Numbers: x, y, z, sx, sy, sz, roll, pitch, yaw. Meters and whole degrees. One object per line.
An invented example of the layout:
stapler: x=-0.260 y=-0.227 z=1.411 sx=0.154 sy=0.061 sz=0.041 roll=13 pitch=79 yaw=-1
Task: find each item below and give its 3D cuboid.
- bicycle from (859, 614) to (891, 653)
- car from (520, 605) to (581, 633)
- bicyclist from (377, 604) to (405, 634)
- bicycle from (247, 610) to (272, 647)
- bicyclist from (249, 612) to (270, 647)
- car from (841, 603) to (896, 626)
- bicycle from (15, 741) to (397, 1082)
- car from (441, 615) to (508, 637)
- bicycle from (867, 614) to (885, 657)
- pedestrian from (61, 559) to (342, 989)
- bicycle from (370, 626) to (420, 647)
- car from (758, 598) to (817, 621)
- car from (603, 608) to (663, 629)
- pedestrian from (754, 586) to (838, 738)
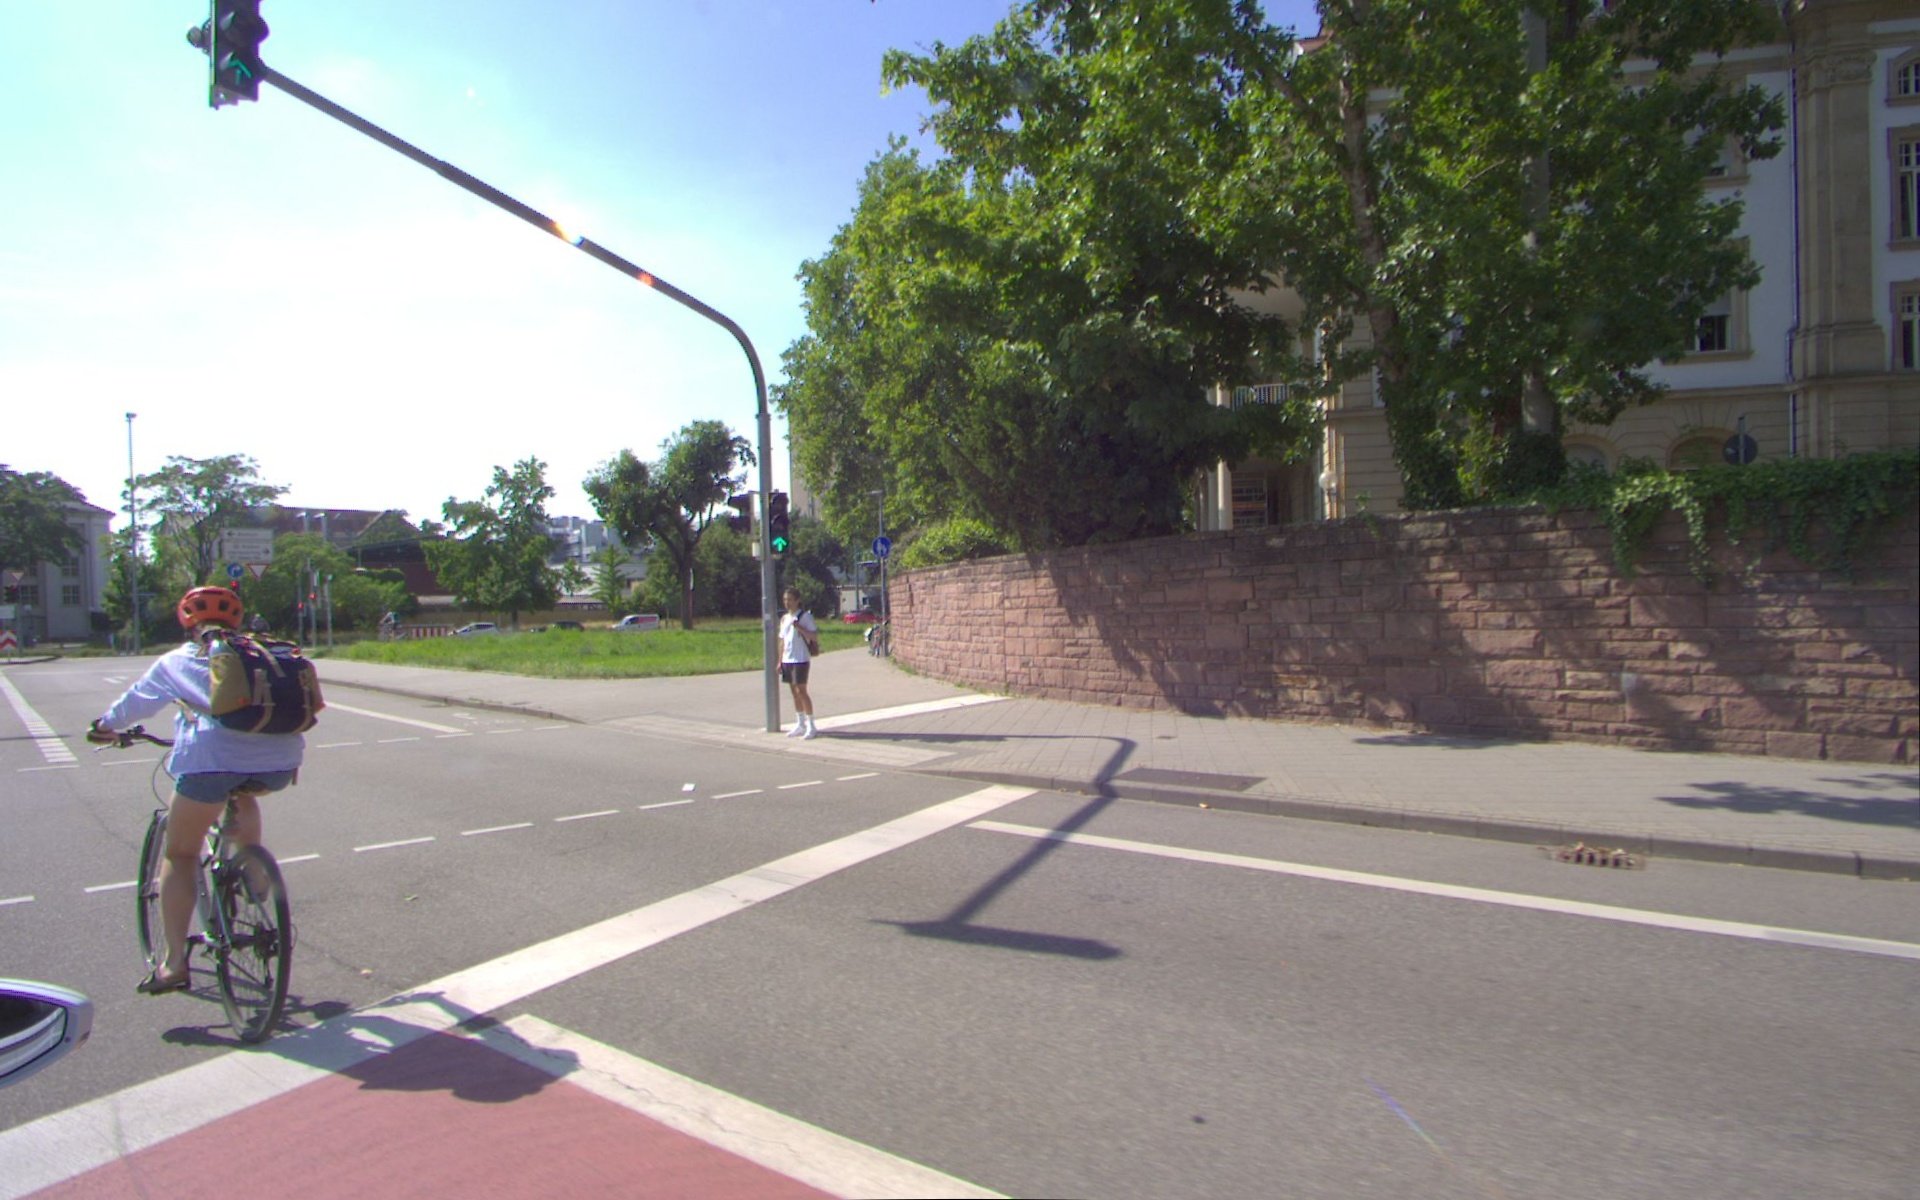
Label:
bicycle: x=-2.550 y=0.994 z=29.893 sx=0.344 sy=1.138 sz=1.427 roll=-2 pitch=1 yaw=-31
car: x=-31.818 y=1.495 z=77.853 sx=3.959 sy=2.040 sz=1.981 roll=-2 pitch=1 yaw=-43
bicyclist: x=-28.221 y=0.956 z=49.682 sx=1.120 sy=1.489 sz=0.496 roll=-1 pitch=-1 yaw=3
bicycle: x=-34.459 y=1.389 z=49.224 sx=0.673 sy=1.789 sz=1.793 roll=-2 pitch=1 yaw=-45
bicyclist: x=-34.476 y=1.431 z=49.265 sx=0.674 sy=1.677 sz=0.909 roll=-2 pitch=1 yaw=-45
car: x=-7.005 y=1.163 z=76.996 sx=1.735 sy=1.526 sz=3.966 roll=-1 pitch=-4 yaw=45
bicycle: x=-3.121 y=1.129 z=4.069 sx=2.000 sy=0.943 sz=0.595 roll=-1 pitch=-1 yaw=33
car: x=-35.720 y=1.924 z=73.712 sx=1.980 sy=1.483 sz=3.962 roll=-3 pitch=-1 yaw=45
bicycle: x=-2.382 y=0.990 z=28.306 sx=0.343 sy=1.138 sz=1.434 roll=-2 pitch=0 yaw=-10
pedestrian: x=-3.020 y=0.616 z=3.983 sx=0.999 sy=1.485 sz=0.582 roll=-1 pitch=-1 yaw=33
bicycle: x=-28.046 y=1.807 z=49.720 sx=2.126 sy=0.928 sz=0.674 roll=-1 pitch=1 yaw=2
car: x=-12.484 y=0.702 z=72.676 sx=1.735 sy=1.528 sz=3.961 roll=-1 pitch=1 yaw=45
car: x=-26.714 y=1.508 z=81.936 sx=1.891 sy=1.590 sz=4.283 roll=-1 pitch=0 yaw=44
pedestrian: x=-2.131 y=0.788 z=13.036 sx=0.784 sy=1.900 sz=0.651 roll=-1 pitch=2 yaw=27
